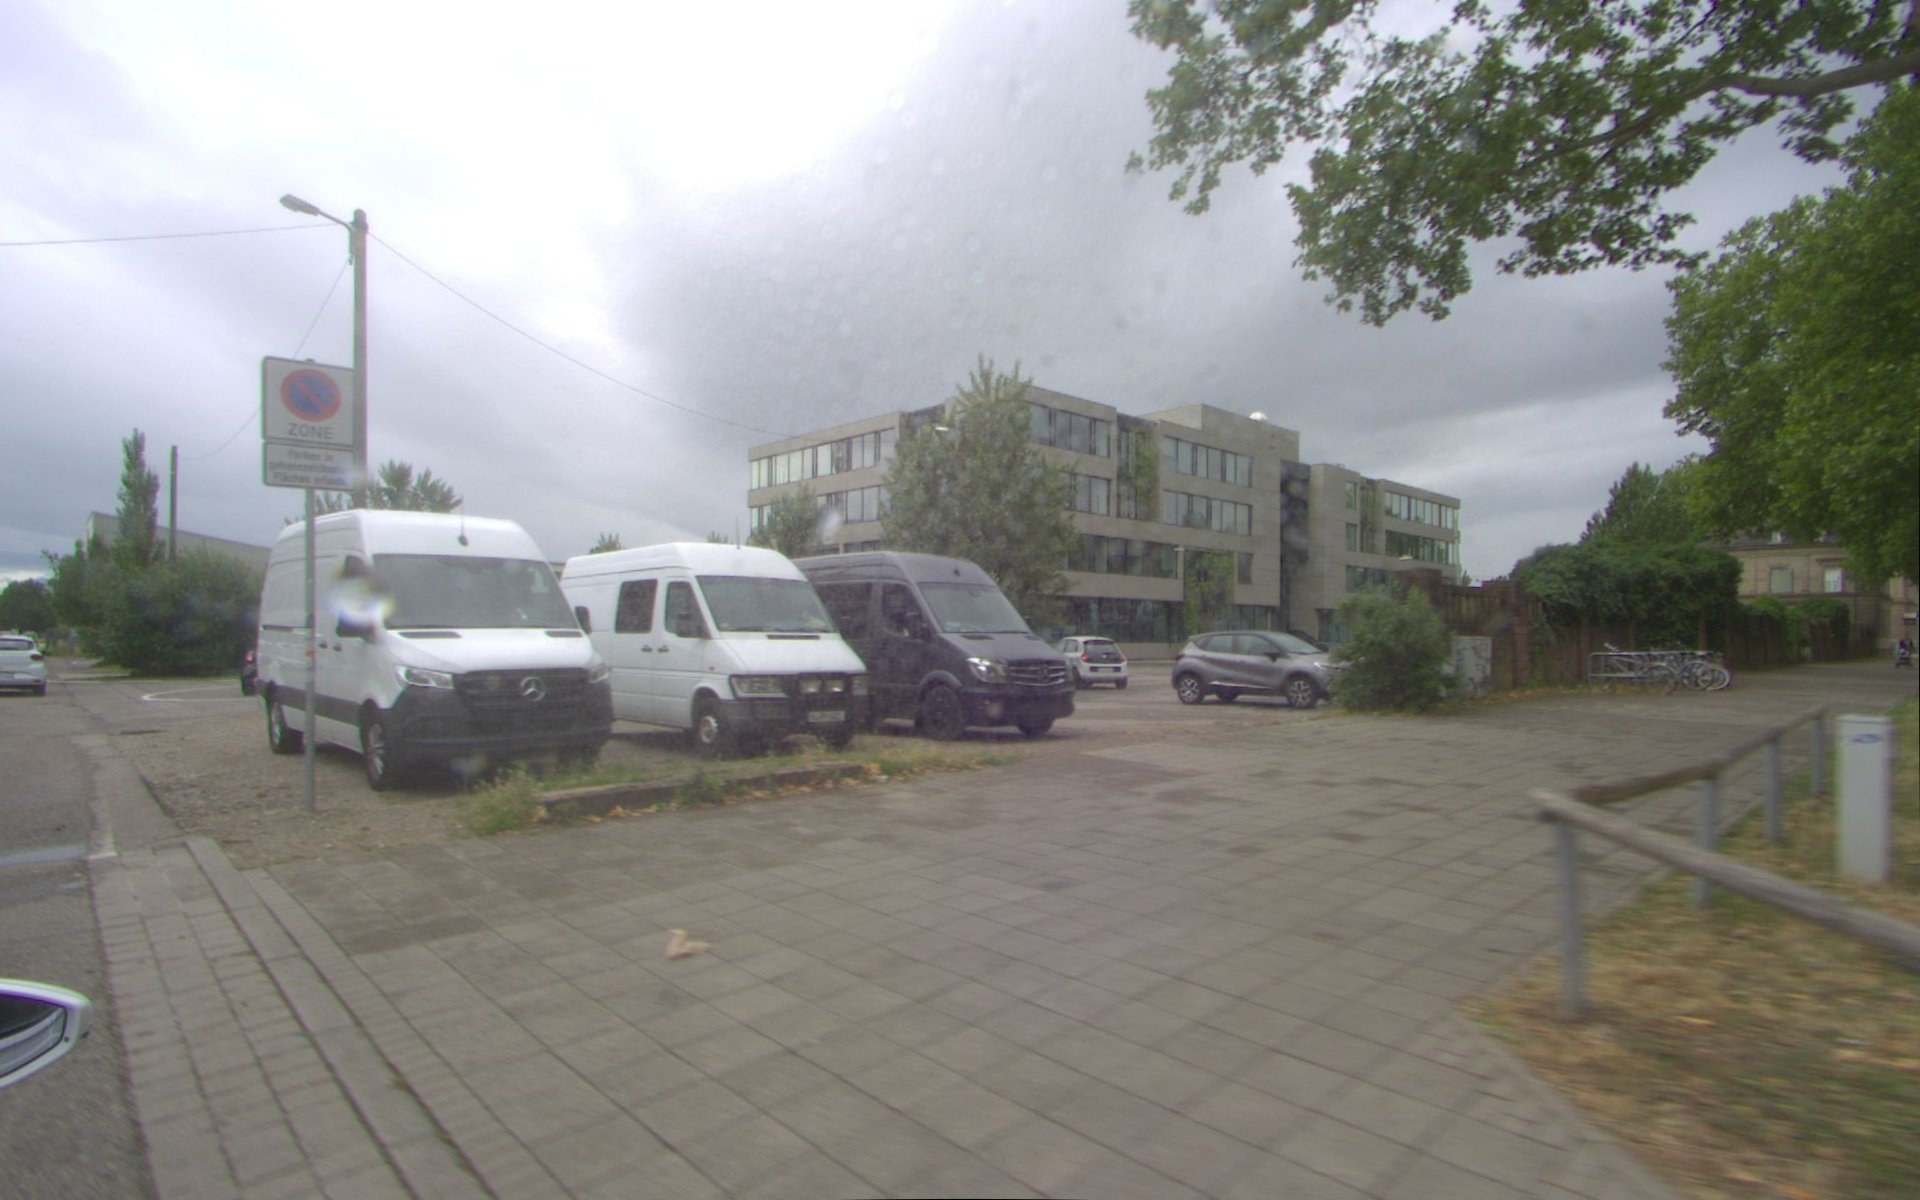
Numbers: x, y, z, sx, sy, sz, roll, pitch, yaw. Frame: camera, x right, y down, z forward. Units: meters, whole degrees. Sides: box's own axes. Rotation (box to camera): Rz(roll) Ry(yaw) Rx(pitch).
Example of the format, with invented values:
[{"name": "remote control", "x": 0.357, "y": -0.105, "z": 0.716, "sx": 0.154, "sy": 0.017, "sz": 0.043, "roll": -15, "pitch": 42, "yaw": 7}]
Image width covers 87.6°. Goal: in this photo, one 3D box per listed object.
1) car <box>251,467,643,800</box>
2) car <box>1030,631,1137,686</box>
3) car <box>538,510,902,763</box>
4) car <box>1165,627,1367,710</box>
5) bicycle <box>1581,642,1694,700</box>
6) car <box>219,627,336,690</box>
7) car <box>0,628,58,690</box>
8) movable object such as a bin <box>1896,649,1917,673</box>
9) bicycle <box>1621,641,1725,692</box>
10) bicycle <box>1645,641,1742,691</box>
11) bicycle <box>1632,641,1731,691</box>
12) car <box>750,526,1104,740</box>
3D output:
[{"name": "car", "x": -5.746, "y": 0.319, "z": 10.682, "sx": 2.080, "sy": 2.588, "sz": 5.984, "roll": 1, "pitch": -1, "yaw": -44}, {"name": "car", "x": 3.765, "y": 1.765, "z": 31.252, "sx": 1.964, "sy": 1.572, "sz": 3.995, "roll": 1, "pitch": -1, "yaw": -15}, {"name": "car", "x": -3.368, "y": 0.536, "z": 12.942, "sx": 2.020, "sy": 2.567, "sz": 5.752, "roll": 1, "pitch": -4, "yaw": -43}, {"name": "car", "x": 6.409, "y": 1.397, "z": 21.237, "sx": 1.734, "sy": 1.599, "sz": 3.742, "roll": 1, "pitch": -3, "yaw": -45}, {"name": "bicycle", "x": 14.524, "y": 1.497, "z": 21.506, "sx": 0.544, "sy": 1.105, "sz": 1.908, "roll": 1, "pitch": 0, "yaw": -44}, {"name": "car", "x": -17.607, "y": 1.437, "z": 25.779, "sx": 1.873, "sy": 1.472, "sz": 3.961, "roll": 1, "pitch": -2, "yaw": -44}, {"name": "car", "x": -24.650, "y": 1.472, "z": 25.874, "sx": 1.873, "sy": 1.472, "sz": 3.961, "roll": 1, "pitch": -2, "yaw": -44}, {"name": "movable object such as a bin", "x": 45.817, "y": 2.966, "z": 48.457, "sx": 1.003, "sy": 1.126, "sz": 0.609, "roll": 2, "pitch": -2, "yaw": -37}, {"name": "bicycle", "x": 17.265, "y": 1.584, "z": 24.290, "sx": 0.544, "sy": 1.109, "sz": 1.961, "roll": 1, "pitch": 0, "yaw": -44}, {"name": "bicycle", "x": 18.283, "y": 1.625, "z": 24.984, "sx": 0.544, "sy": 1.119, "sz": 1.877, "roll": 1, "pitch": 0, "yaw": -44}, {"name": "bicycle", "x": 17.763, "y": 1.600, "z": 24.682, "sx": 0.544, "sy": 1.112, "sz": 1.887, "roll": 1, "pitch": 0, "yaw": -44}, {"name": "car", "x": -0.759, "y": 0.578, "z": 14.812, "sx": 2.148, "sy": 2.553, "sz": 5.758, "roll": 2, "pitch": -4, "yaw": -40}]
